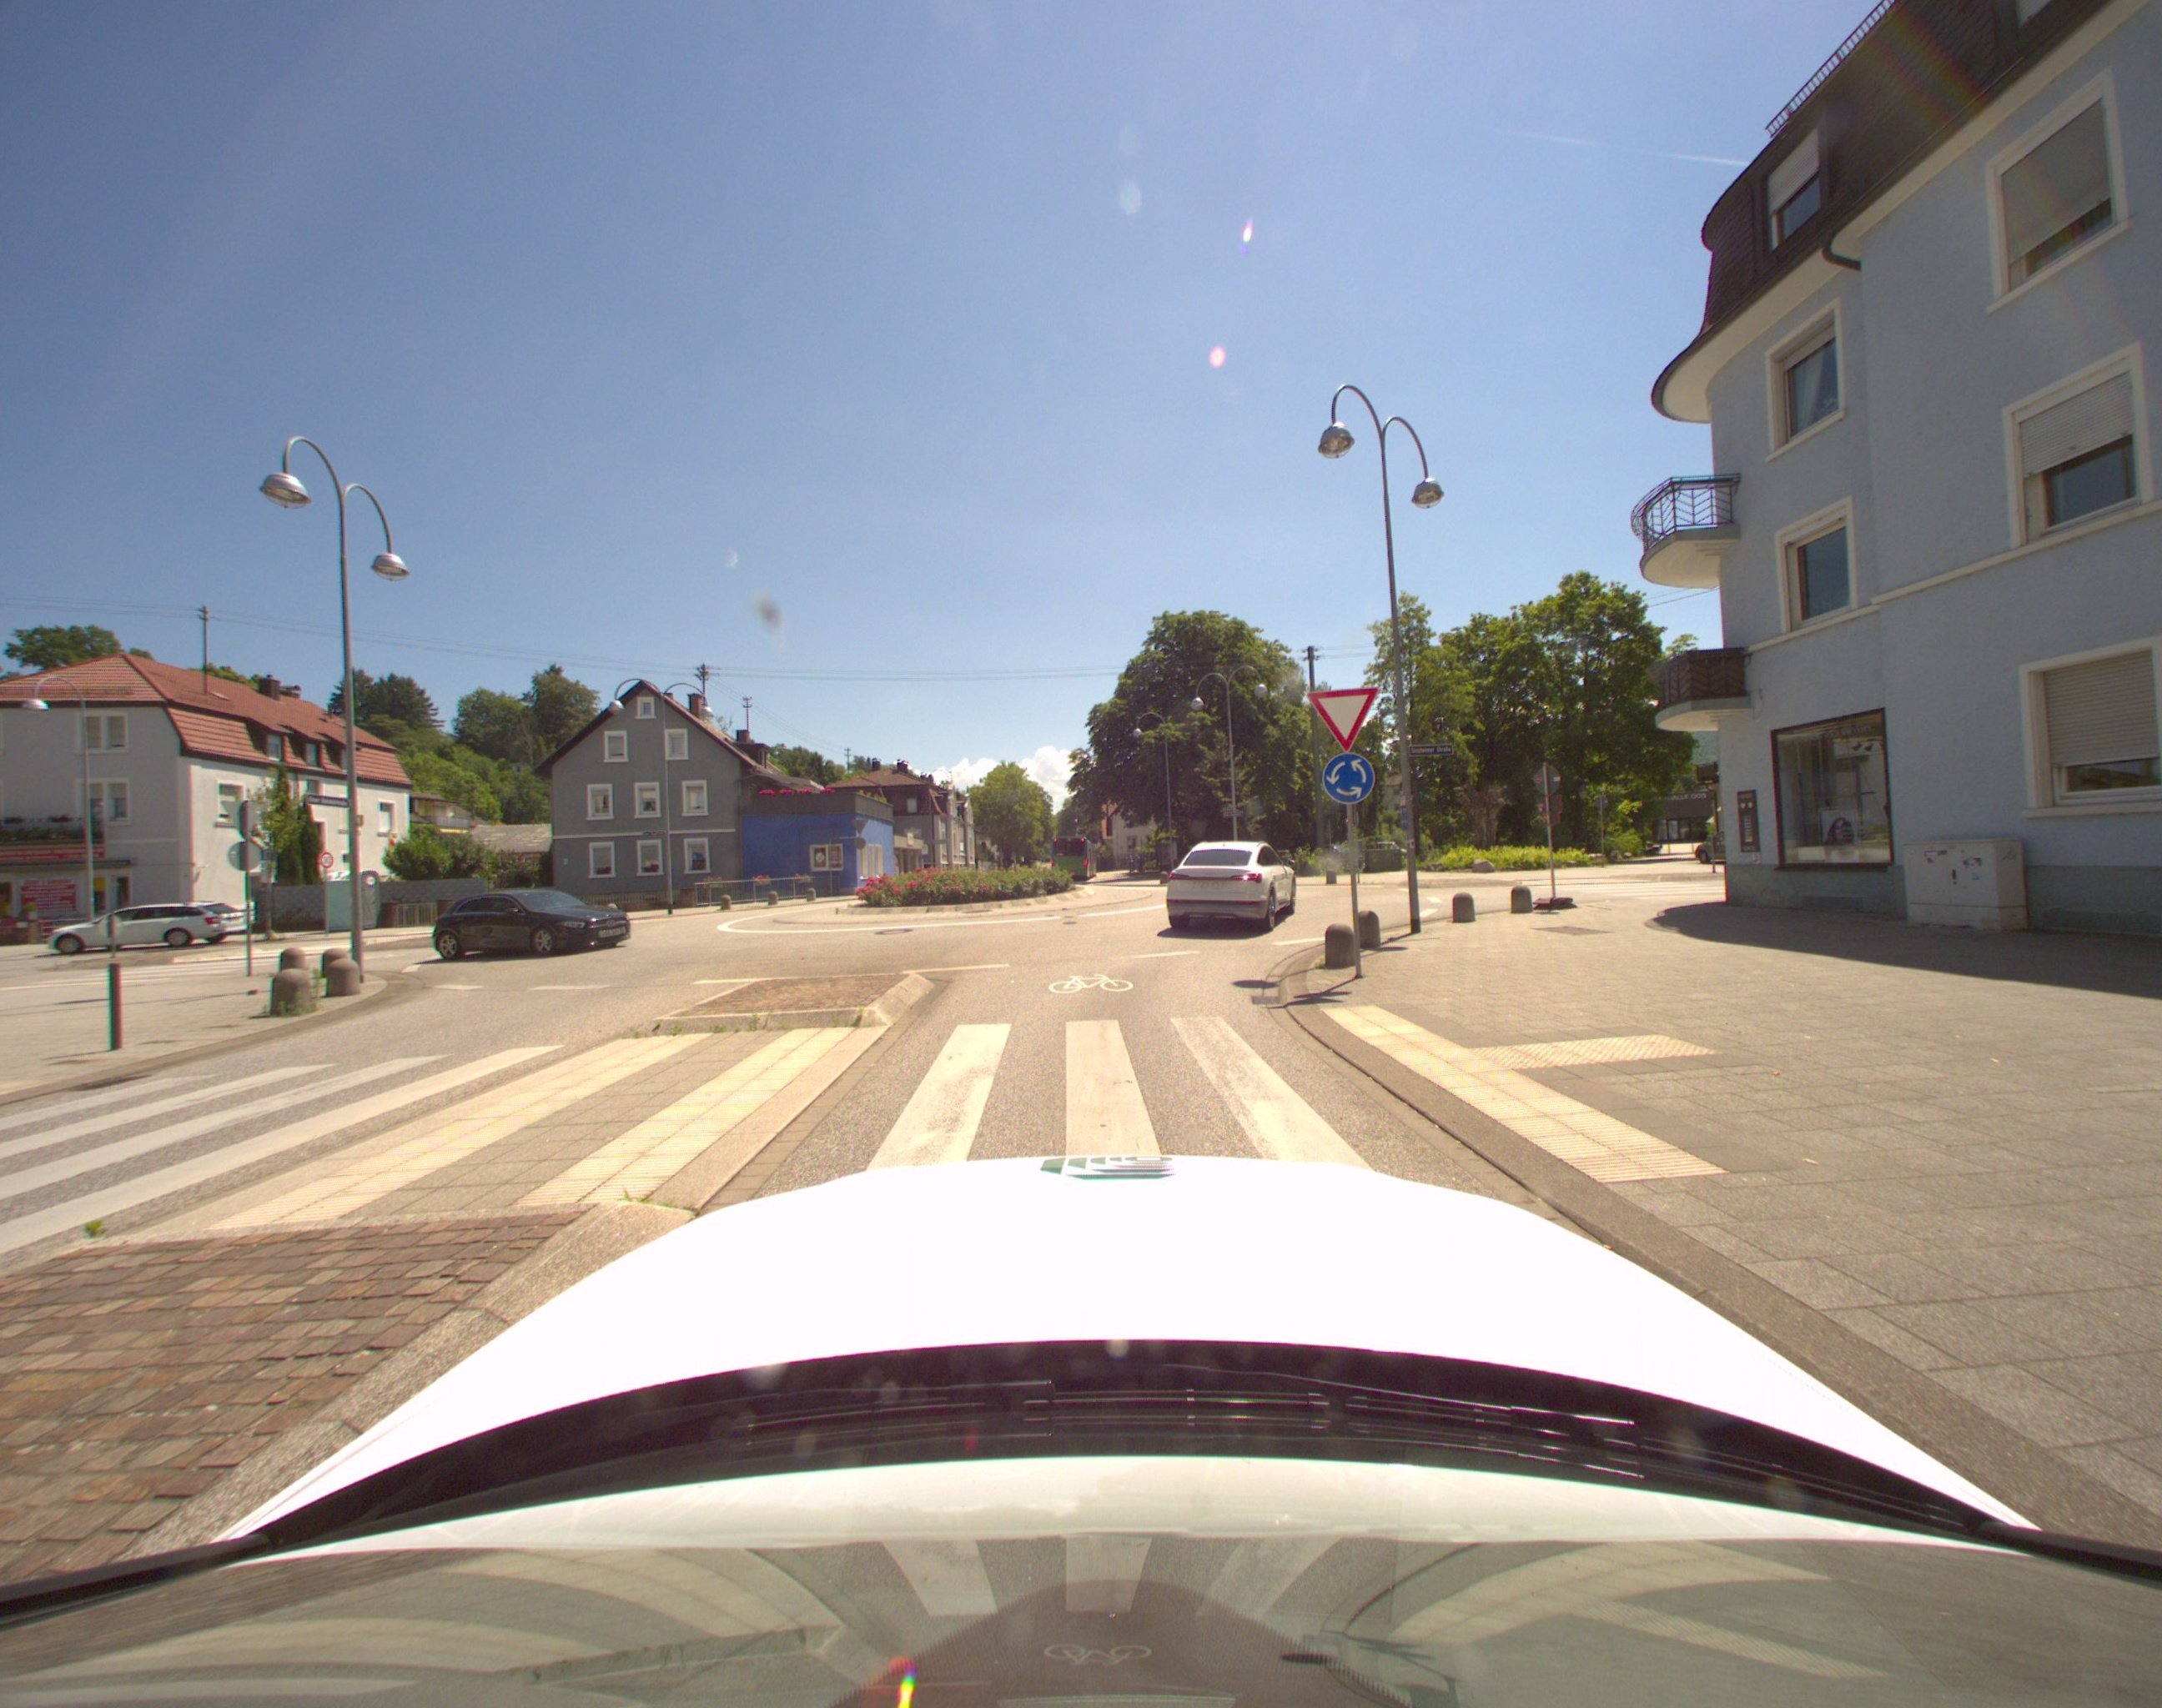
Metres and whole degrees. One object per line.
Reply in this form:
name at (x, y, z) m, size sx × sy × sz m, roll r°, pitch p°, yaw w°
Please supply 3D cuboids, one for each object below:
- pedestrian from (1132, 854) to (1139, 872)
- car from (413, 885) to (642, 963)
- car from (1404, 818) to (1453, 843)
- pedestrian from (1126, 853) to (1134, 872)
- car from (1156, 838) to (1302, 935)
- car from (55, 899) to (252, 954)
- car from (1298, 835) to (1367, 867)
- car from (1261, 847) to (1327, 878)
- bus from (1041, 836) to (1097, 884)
pedestrian at (4.825, 0.787, 72.365) m, size 0.488 × 1.522 × 0.541 m, roll -3°, pitch 0°, yaw -6°
car at (-12.261, 1.550, 18.091) m, size 4.389 × 1.457 × 1.776 m, roll -3°, pitch 0°, yaw 16°
car at (31.829, -2.150, 74.562) m, size 3.950 × 2.013 × 2.012 m, roll -3°, pitch 0°, yaw 26°
pedestrian at (4.265, 0.767, 70.769) m, size 0.501 × 1.650 × 0.578 m, roll -3°, pitch 0°, yaw -6°
car at (3.135, 0.529, 16.426) m, size 1.881 × 1.662 × 4.434 m, roll -1°, pitch 1°, yaw 24°
car at (-31.218, 2.415, 27.559) m, size 4.076 × 1.391 × 1.600 m, roll -2°, pitch 2°, yaw -18°
car at (17.197, -0.210, 55.838) m, size 2.011 × 2.013 × 3.952 m, roll -2°, pitch 0°, yaw -40°
car at (11.727, 0.455, 44.835) m, size 3.054 × 1.552 × 1.626 m, roll -3°, pitch 0°, yaw -14°
bus at (-0.657, 0.521, 64.573) m, size 3.693 × 3.171 × 18.072 m, roll -1°, pitch -1°, yaw 1°
